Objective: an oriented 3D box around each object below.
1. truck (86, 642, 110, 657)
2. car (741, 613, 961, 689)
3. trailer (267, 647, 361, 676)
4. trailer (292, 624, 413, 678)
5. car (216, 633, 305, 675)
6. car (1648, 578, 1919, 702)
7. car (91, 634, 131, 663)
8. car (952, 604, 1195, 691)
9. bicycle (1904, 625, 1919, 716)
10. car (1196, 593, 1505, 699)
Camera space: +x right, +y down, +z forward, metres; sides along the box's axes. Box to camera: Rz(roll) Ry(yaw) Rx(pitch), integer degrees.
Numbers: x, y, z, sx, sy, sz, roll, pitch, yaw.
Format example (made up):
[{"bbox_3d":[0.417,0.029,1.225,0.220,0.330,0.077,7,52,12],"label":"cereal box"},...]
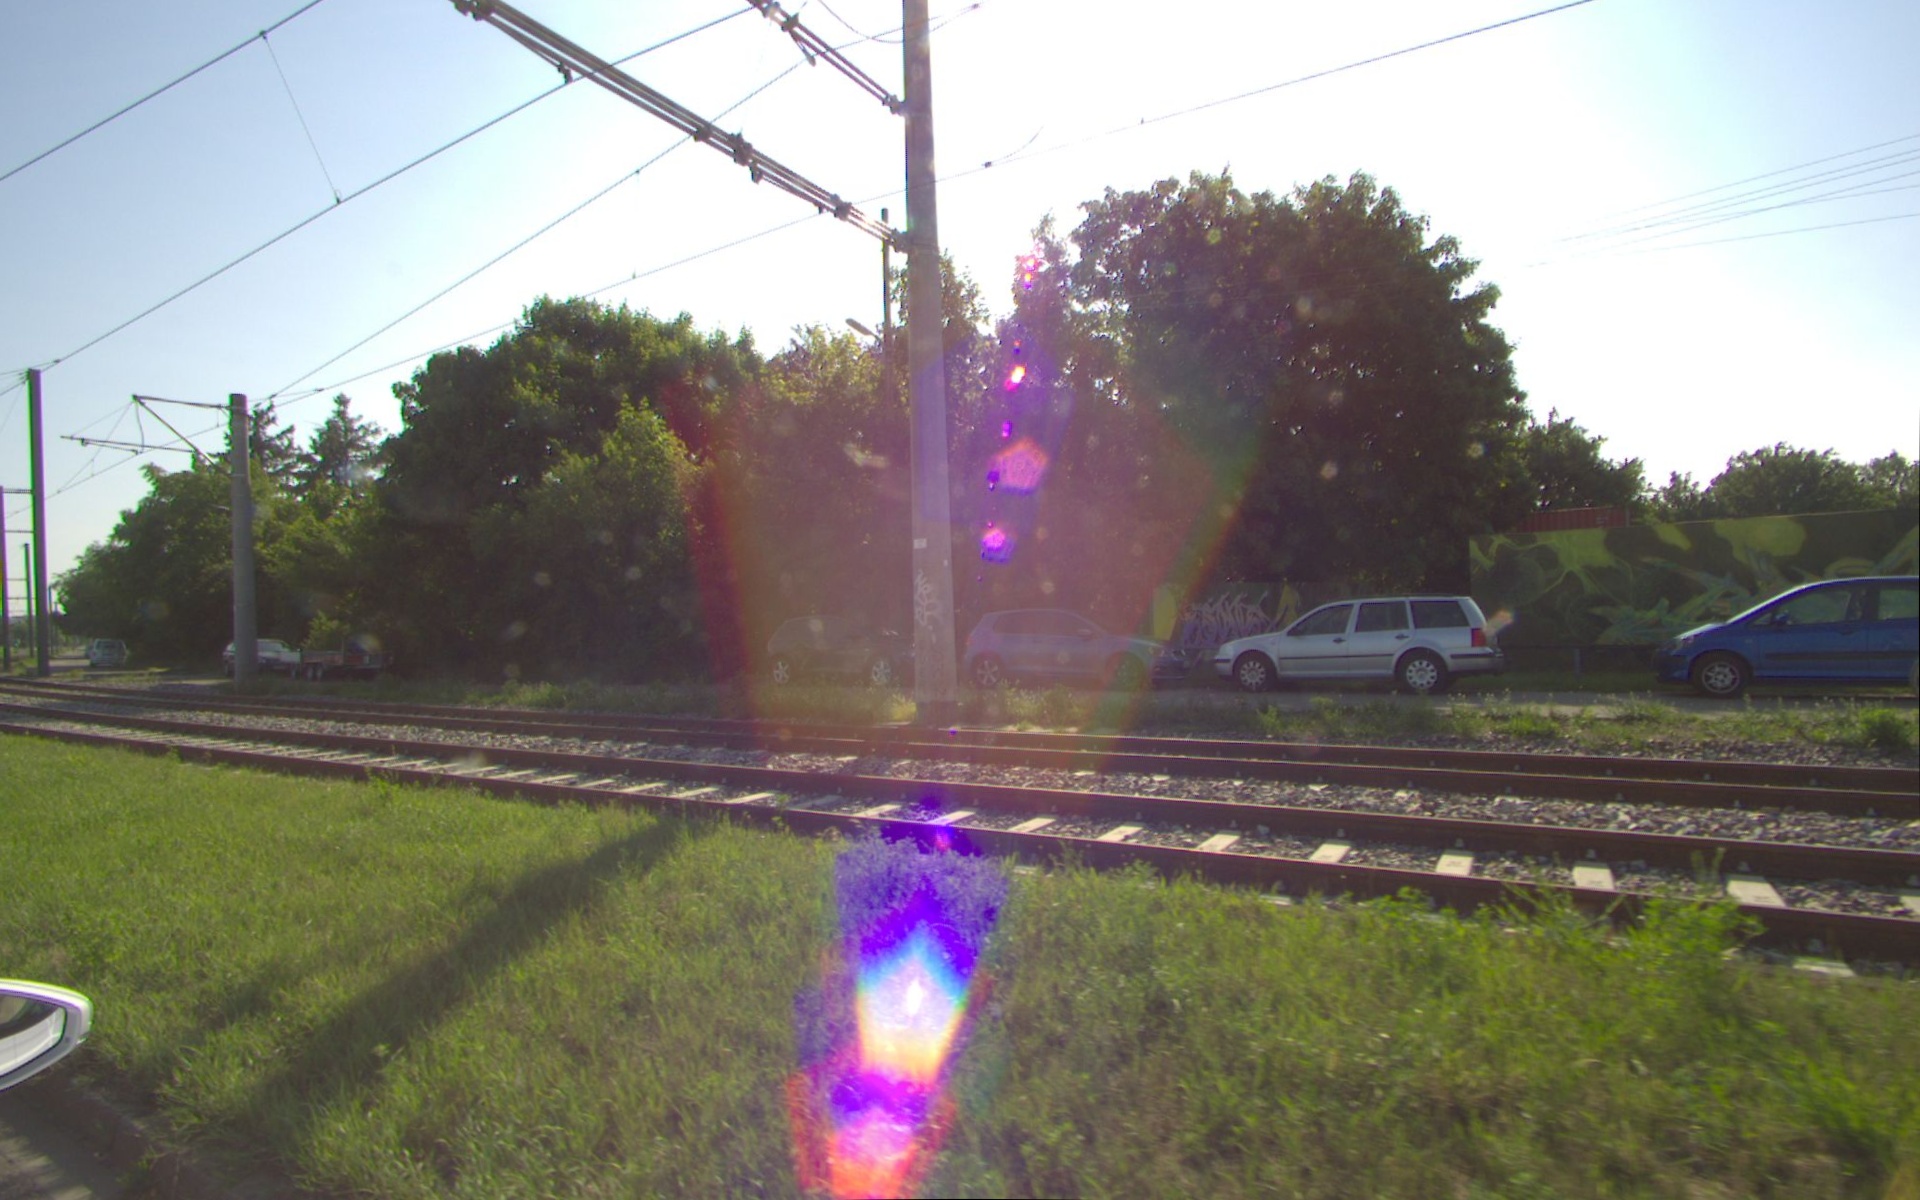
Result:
[{"bbox_3d":[-110.179,6.329,127.954,2.188,1.842,5.877,-1,-2,-42],"label":"truck"},{"bbox_3d":[-2.303,1.047,20.717,4.455,1.428,1.620,-2,-2,31],"label":"car"},{"bbox_3d":[-22.574,2.133,34.974,3.684,0.951,1.725,-2,-4,39],"label":"trailer"},{"bbox_3d":[-19.624,1.638,32.278,4.208,1.616,2.019,-2,-4,39],"label":"trailer"},{"bbox_3d":[-26.399,2.018,37.731,4.826,1.474,1.691,-2,-3,42],"label":"car"},{"bbox_3d":[11.136,0.504,12.774,3.859,1.448,1.674,-1,-2,35],"label":"car"},{"bbox_3d":[-60.847,3.467,71.707,1.980,2.029,5.022,3,-4,-42],"label":"car"},{"bbox_3d":[2.016,0.847,18.113,4.086,1.419,1.483,-2,0,28],"label":"car"},{"bbox_3d":[10.677,0.703,9.910,1.816,0.921,0.642,-2,-1,30],"label":"bicycle"},{"bbox_3d":[6.131,0.688,15.903,4.329,1.484,1.705,-2,0,33],"label":"car"}]
